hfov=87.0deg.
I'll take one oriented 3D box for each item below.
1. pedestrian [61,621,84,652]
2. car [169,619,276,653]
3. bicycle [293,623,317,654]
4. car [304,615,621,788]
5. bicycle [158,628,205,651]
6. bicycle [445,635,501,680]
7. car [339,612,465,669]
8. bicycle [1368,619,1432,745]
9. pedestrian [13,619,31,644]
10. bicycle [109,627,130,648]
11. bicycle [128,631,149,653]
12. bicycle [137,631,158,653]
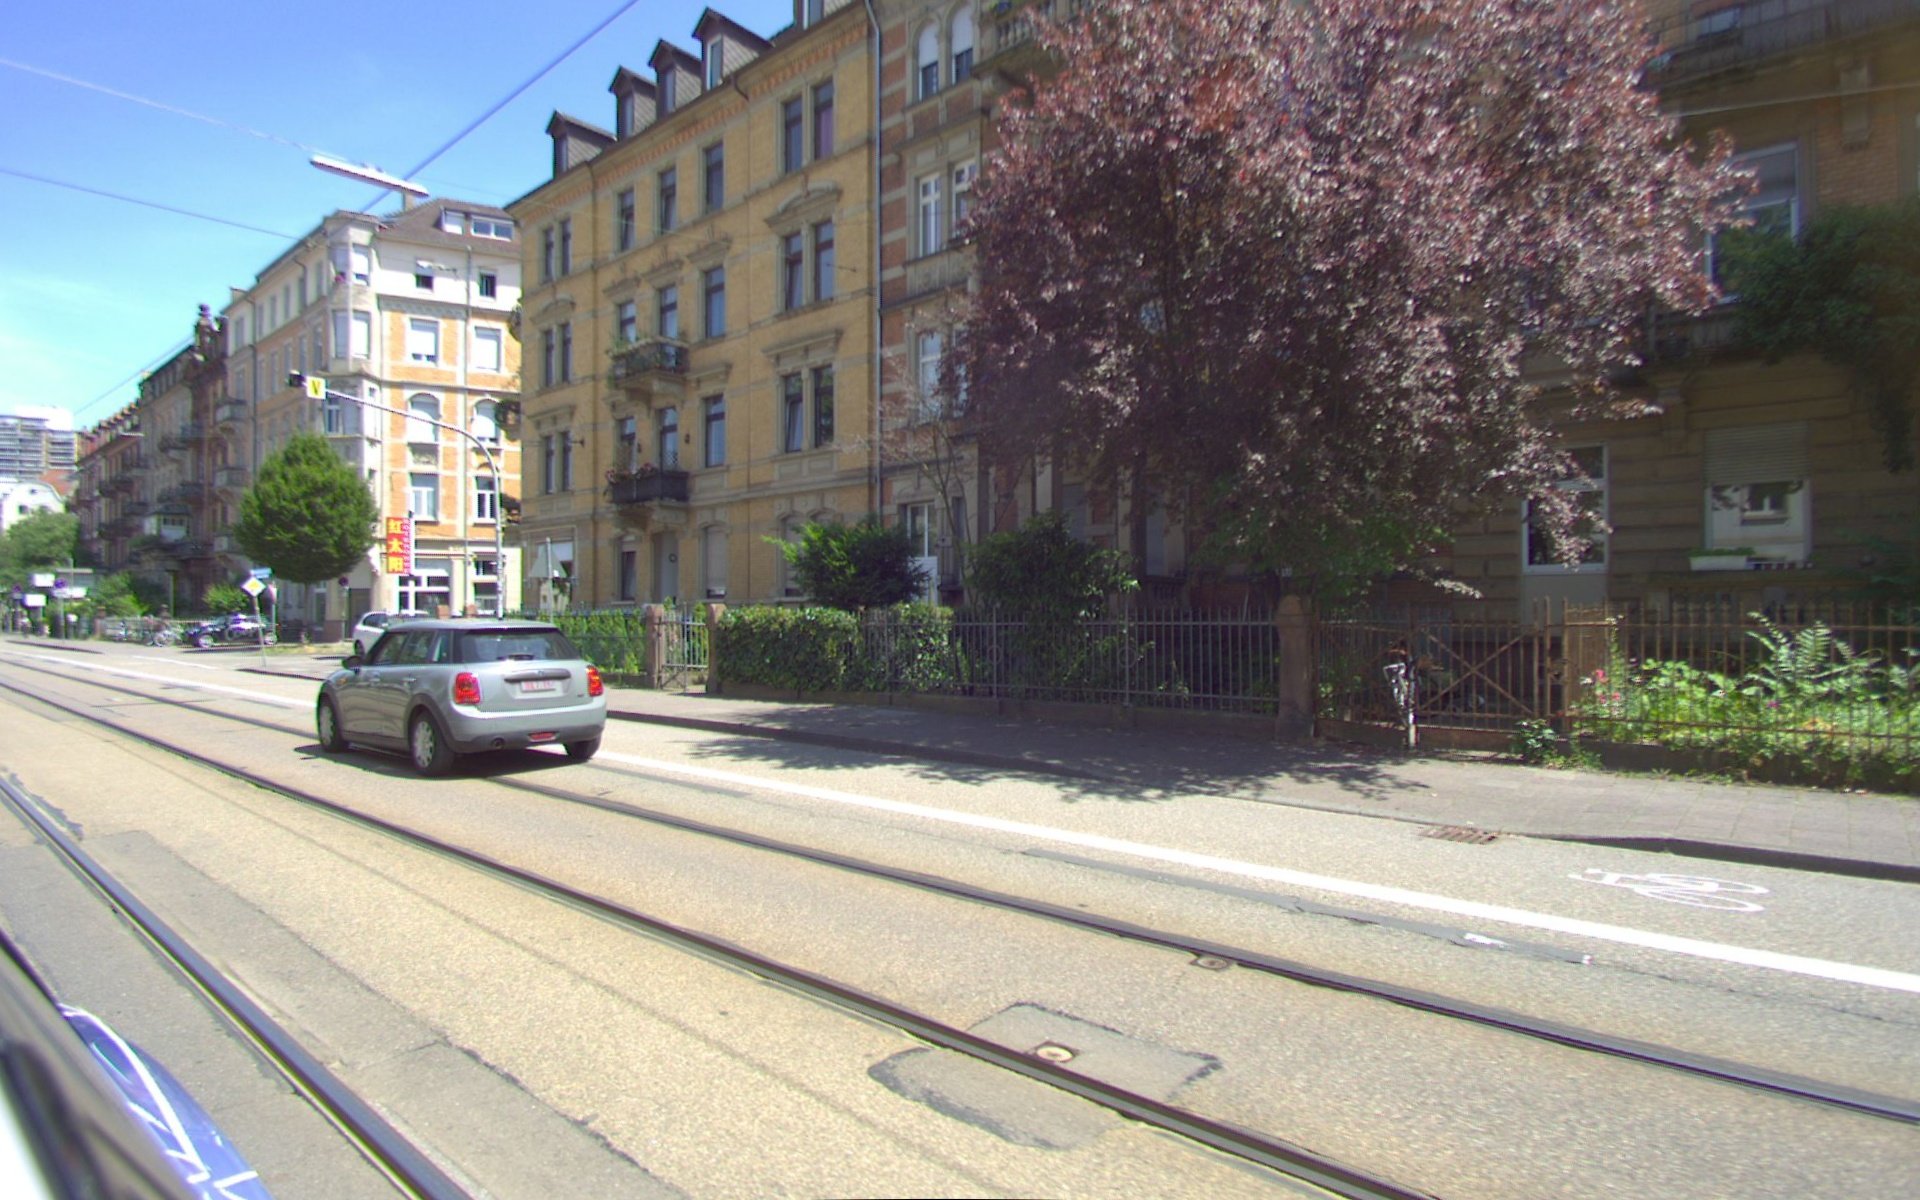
[{"bbox_3d":[-52.745,2.153,60.148,1.138,1.736,0.842,-2,1,42],"label":"pedestrian"},{"bbox_3d":[-33.903,1.620,46.604,1.713,1.439,3.720,0,0,41],"label":"car"},{"bbox_3d":[-27.911,1.620,43.135,0.493,1.237,1.856,1,1,-21],"label":"bicycle"},{"bbox_3d":[-5.275,0.908,10.540,3.746,1.465,1.669,-1,-1,41],"label":"car"},{"bbox_3d":[-36.172,1.818,47.018,1.685,1.045,0.551,0,-1,-45],"label":"bicycle"},{"bbox_3d":[-11.554,1.355,23.987,1.804,1.011,0.449,-1,-1,38],"label":"bicycle"},{"bbox_3d":[-17.261,1.206,31.249,4.094,1.612,1.849,-1,0,36],"label":"car"},{"bbox_3d":[4.896,0.861,11.221,0.507,1.196,1.599,-2,2,28],"label":"bicycle"},{"bbox_3d":[-64.471,2.141,69.560,0.861,1.713,1.014,0,-1,-43],"label":"pedestrian"},{"bbox_3d":[-43.201,1.914,52.007,1.709,0.994,0.491,-2,3,40],"label":"bicycle"},{"bbox_3d":[-39.402,2.005,48.534,1.709,0.991,0.434,-2,-1,40],"label":"bicycle"},{"bbox_3d":[-37.880,1.952,47.176,1.709,0.991,0.434,-2,-1,40],"label":"bicycle"}]
